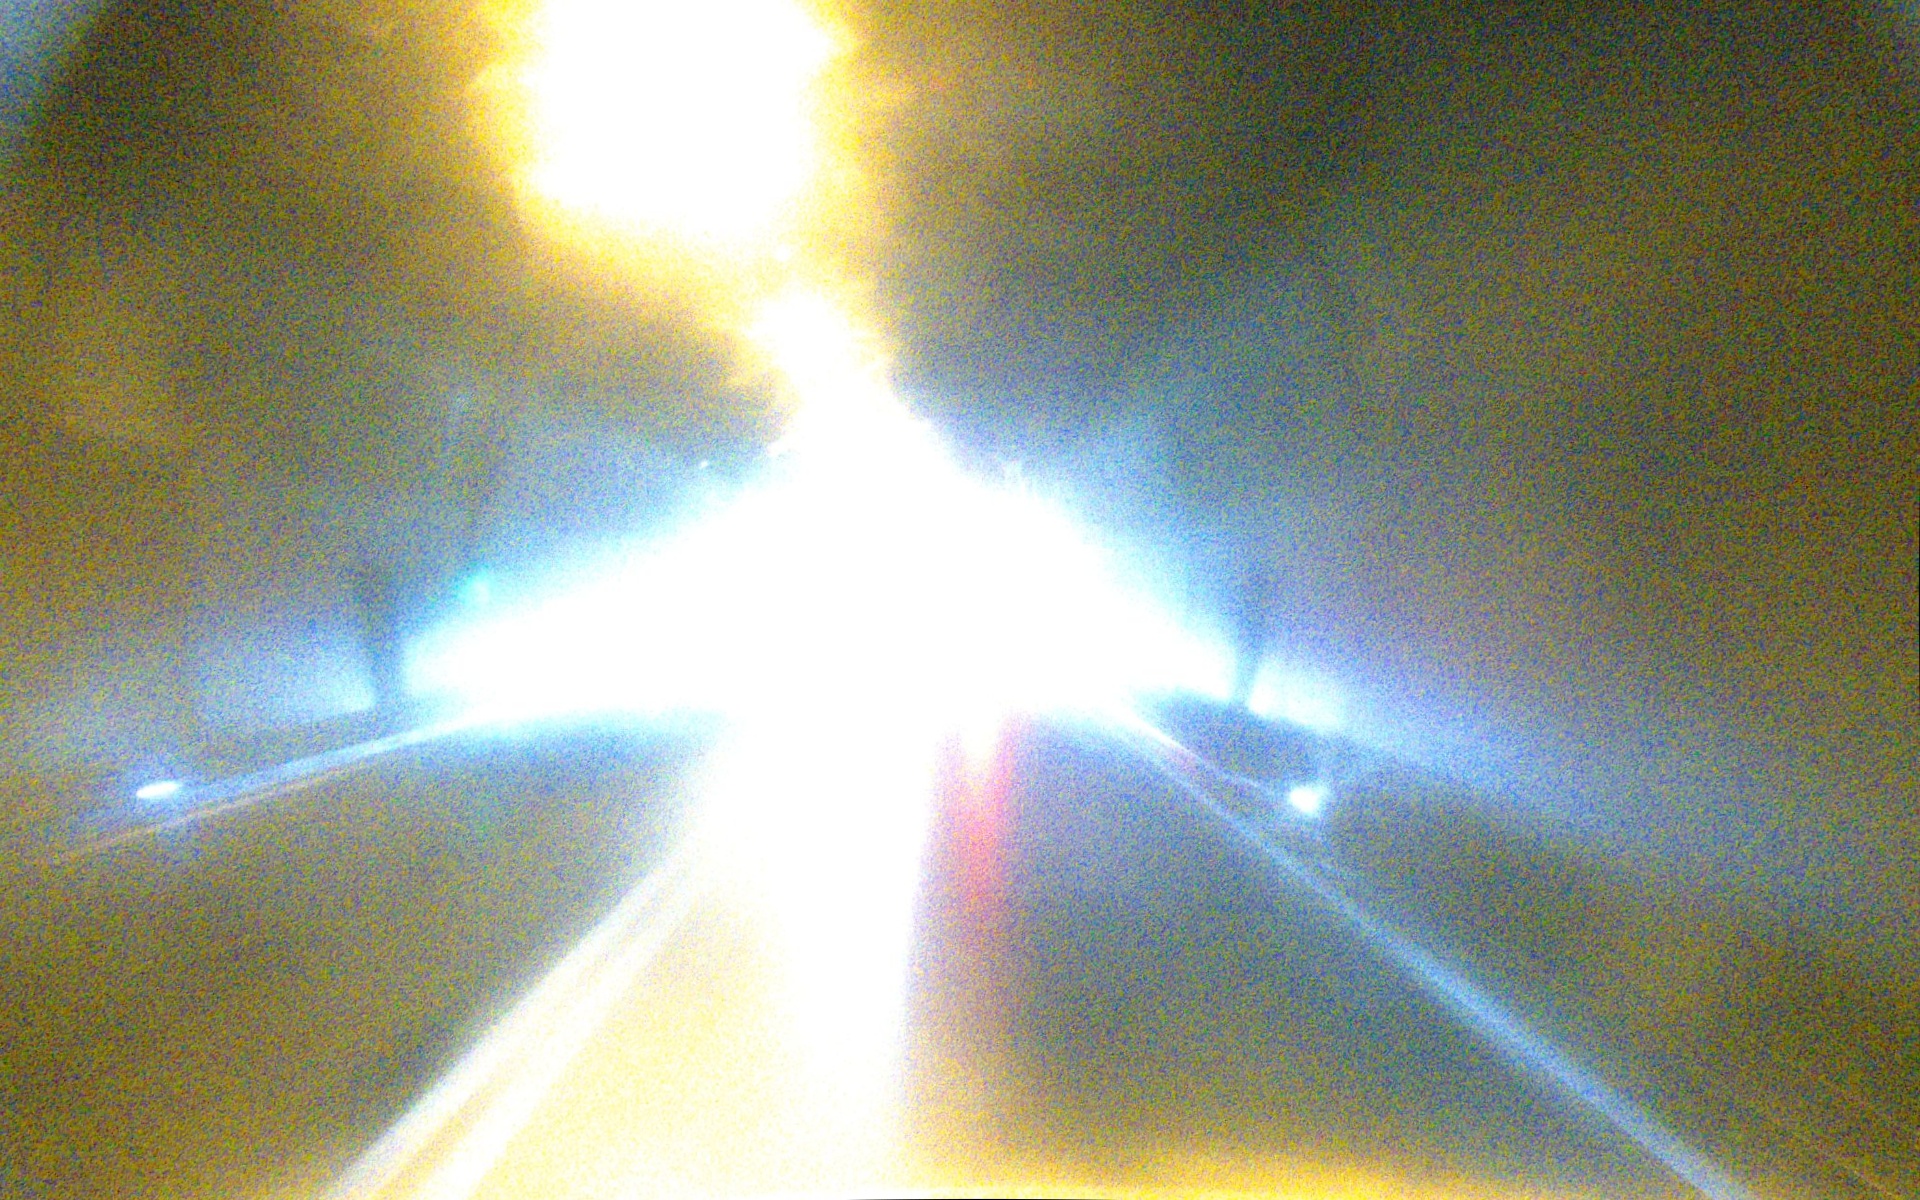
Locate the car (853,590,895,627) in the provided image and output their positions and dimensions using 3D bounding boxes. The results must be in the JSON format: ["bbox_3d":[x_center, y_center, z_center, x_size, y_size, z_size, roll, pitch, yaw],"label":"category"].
[{"bbox_3d":[-3.771,0.345,72.482,1.742,1.433,4.291,-2,1,-3],"label":"car"}]

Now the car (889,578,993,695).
[{"bbox_3d":[-0.292,0.556,28.474,1.602,1.788,4.146,-2,1,0],"label":"car"}]

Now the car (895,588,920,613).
[{"bbox_3d":[-4.632,0.063,146.144,2.167,2.048,3.999,-2,1,-1],"label":"car"}]
